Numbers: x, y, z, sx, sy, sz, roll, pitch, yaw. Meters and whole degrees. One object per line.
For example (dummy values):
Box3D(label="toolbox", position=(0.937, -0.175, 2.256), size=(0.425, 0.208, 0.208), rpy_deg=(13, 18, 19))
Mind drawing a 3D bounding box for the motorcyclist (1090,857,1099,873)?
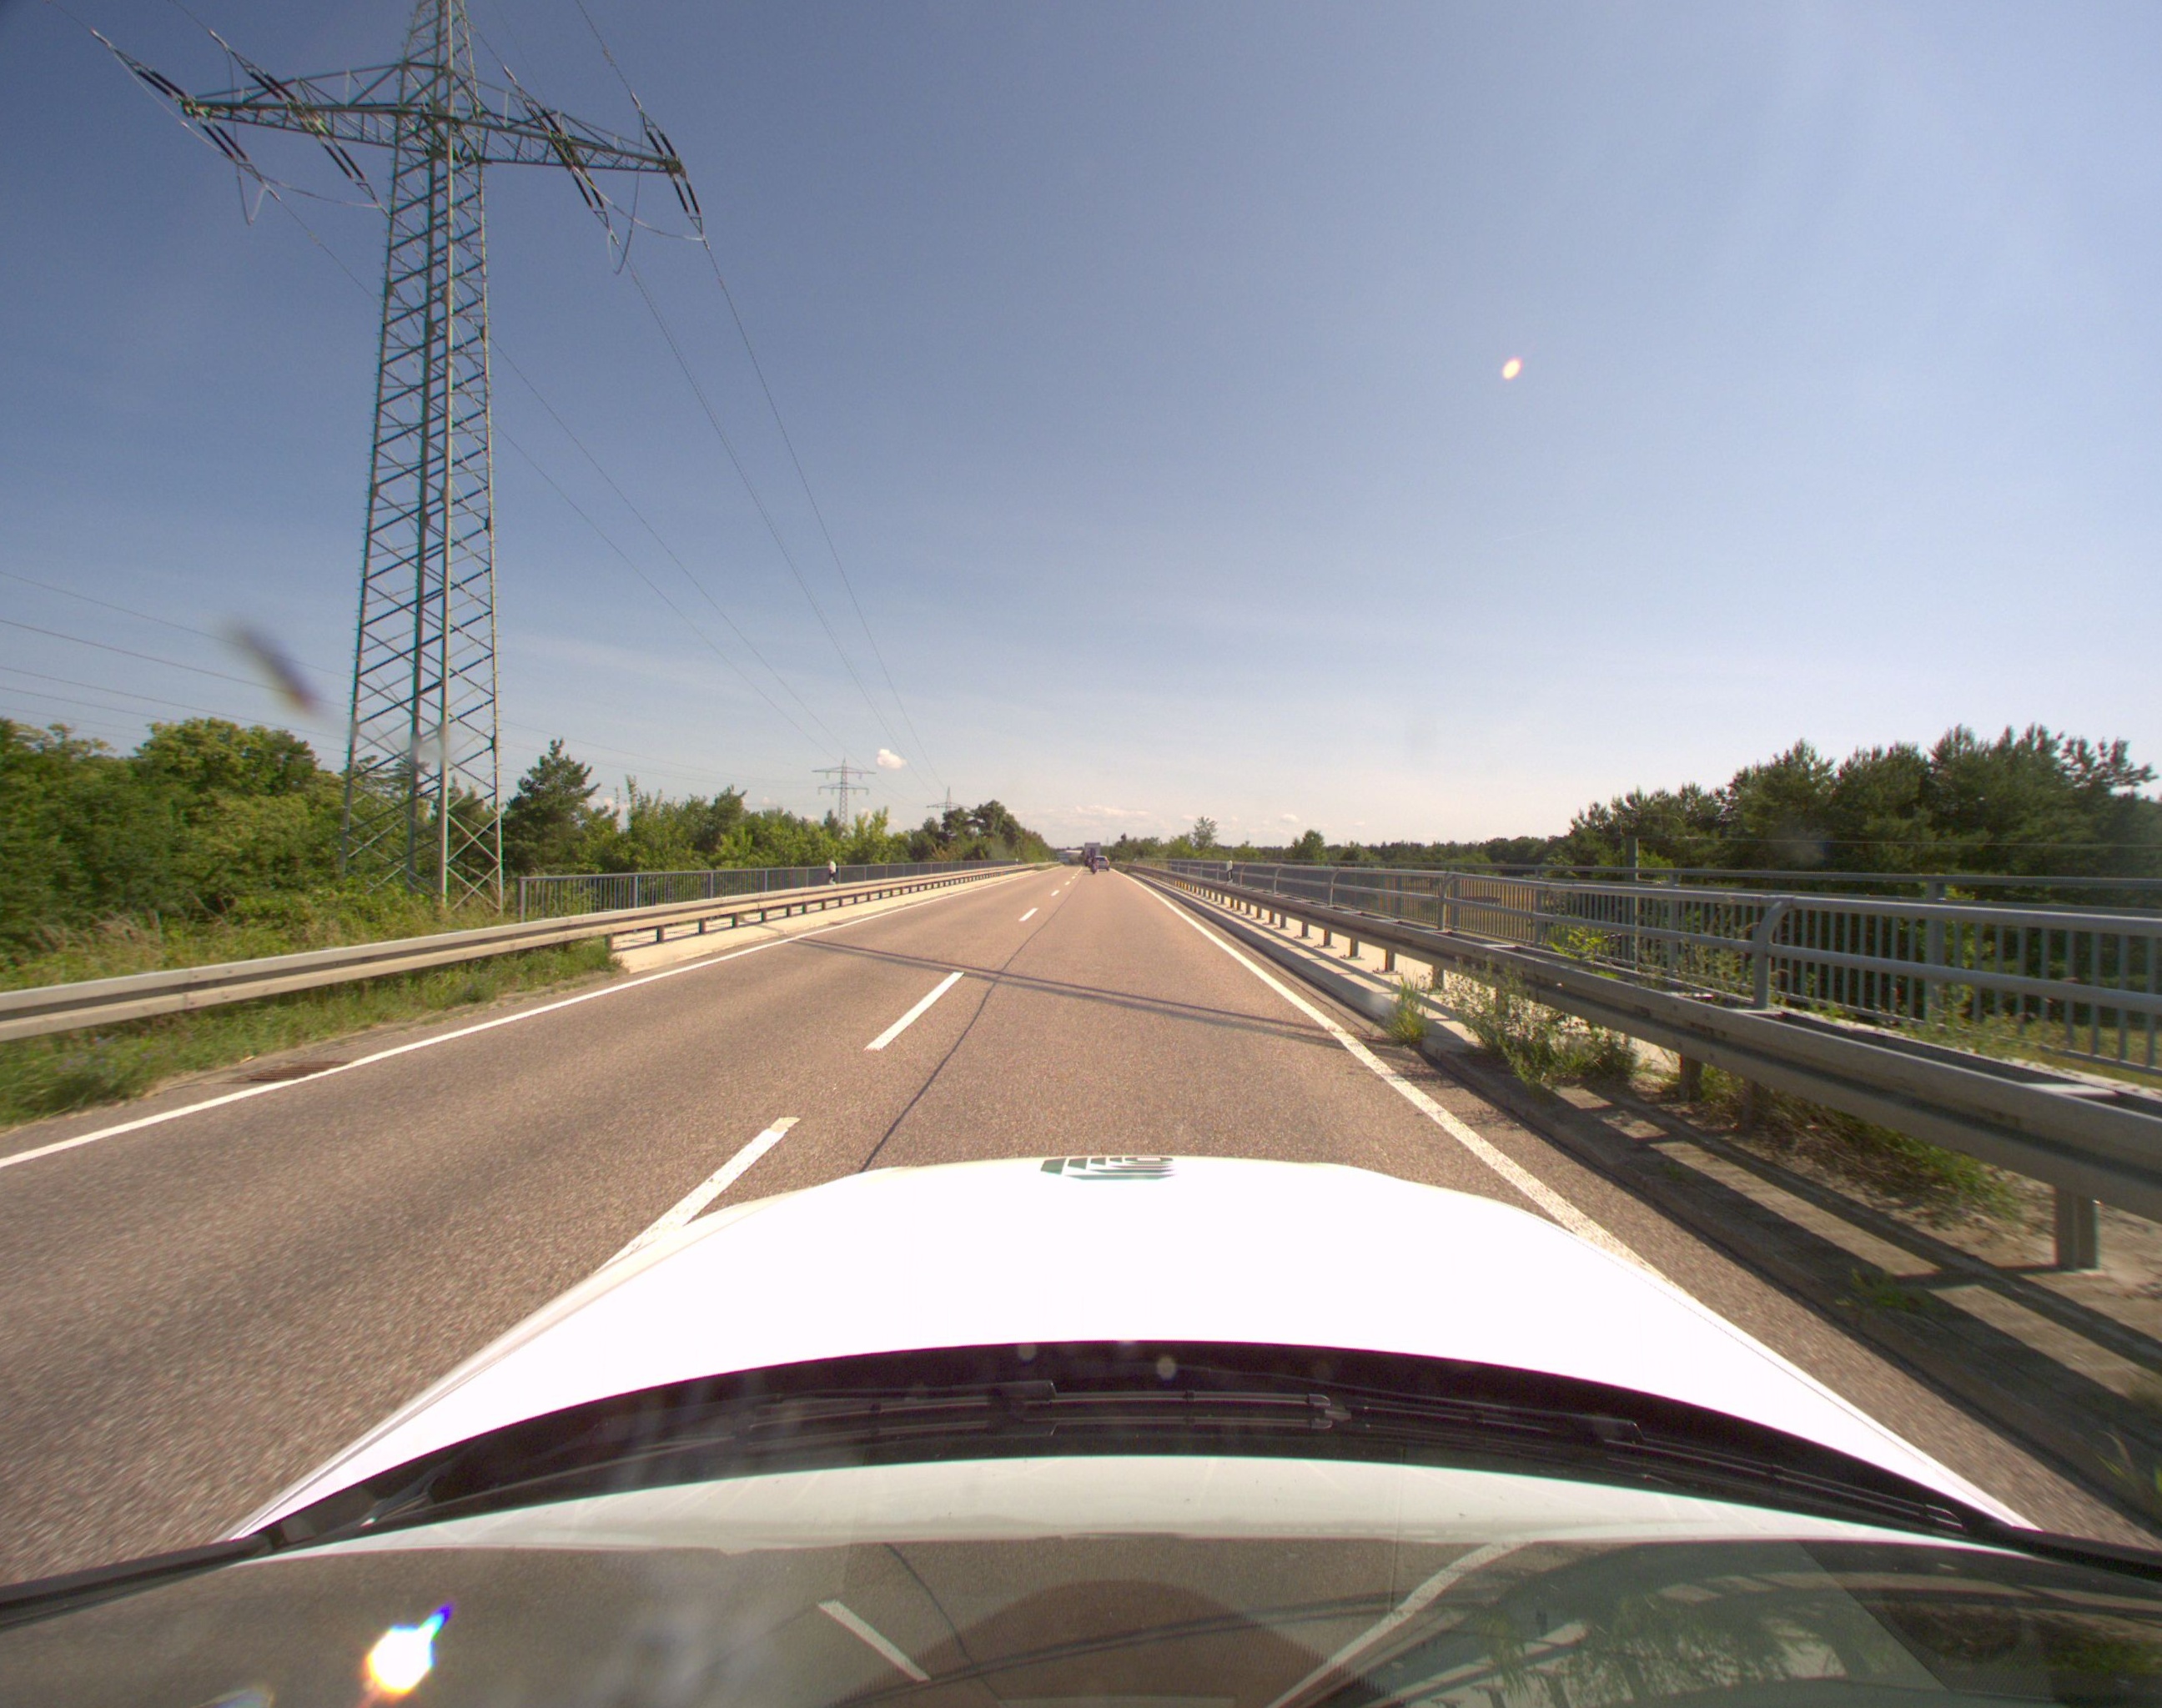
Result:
Box3D(label="motorcyclist", position=(1.129, 0.917, 68.175), size=(0.777, 1.325, 0.814), rpy_deg=(0, 0, 2))

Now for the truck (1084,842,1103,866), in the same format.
Box3D(label="truck", position=(2.267, 0.026, 142.687), size=(3.229, 3.979, 9.447), rpy_deg=(0, 0, 2))

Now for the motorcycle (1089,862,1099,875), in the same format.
Box3D(label="motorcycle", position=(1.118, 1.208, 68.154), size=(0.777, 0.975, 2.363), rpy_deg=(0, 0, 3))

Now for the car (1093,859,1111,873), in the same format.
Box3D(label="car", position=(2.285, 1.280, 86.796), size=(1.818, 1.451, 4.002), rpy_deg=(0, 0, 2))

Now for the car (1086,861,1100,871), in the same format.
Box3D(label="car", position=(1.746, 1.682, 115.269), size=(1.858, 1.420, 4.002), rpy_deg=(0, 0, 2))
